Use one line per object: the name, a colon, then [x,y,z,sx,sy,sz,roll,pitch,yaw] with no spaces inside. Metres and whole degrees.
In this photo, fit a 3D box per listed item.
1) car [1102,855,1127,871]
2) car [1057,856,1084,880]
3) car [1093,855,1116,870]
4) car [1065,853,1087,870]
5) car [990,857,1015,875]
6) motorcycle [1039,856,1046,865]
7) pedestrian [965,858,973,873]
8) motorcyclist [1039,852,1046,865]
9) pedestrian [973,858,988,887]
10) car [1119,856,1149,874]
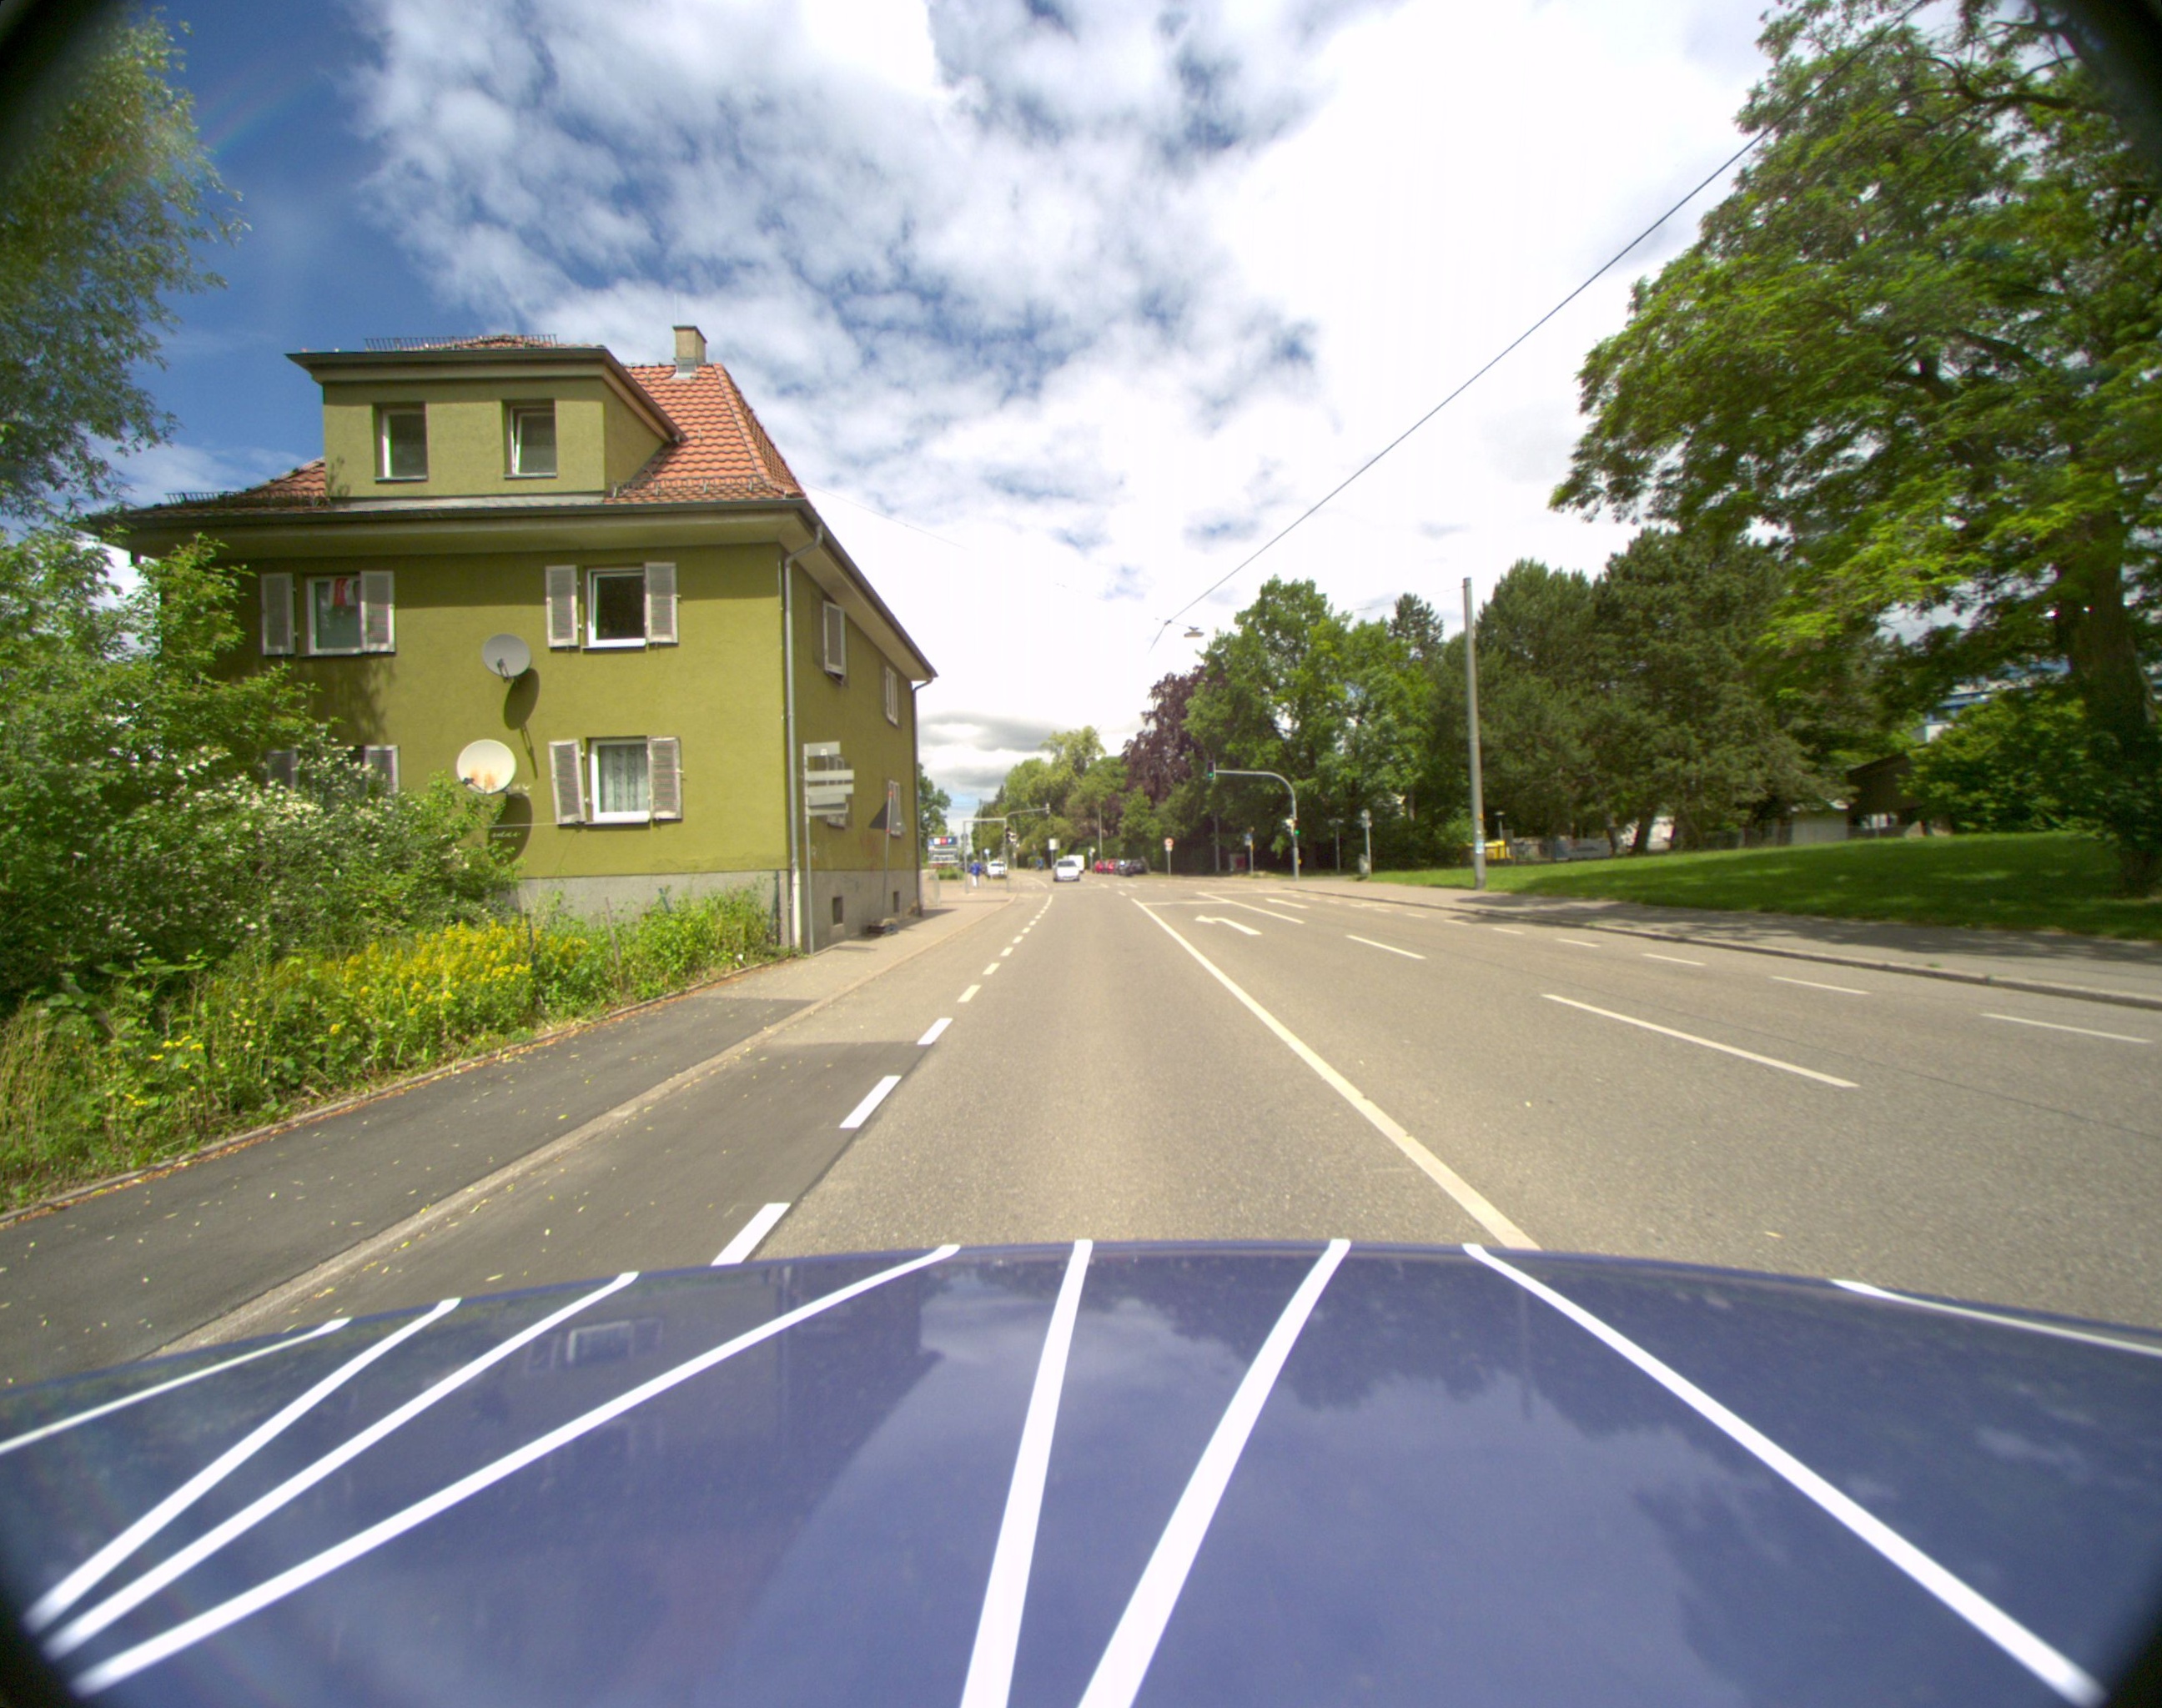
car: [3.352,0.925,77.206,1.900,1.501,3.997,0,1,-7]
car: [-0.740,0.991,54.123,1.781,1.519,3.999,-3,0,0]
car: [2.475,0.902,82.190,1.900,1.501,3.997,0,1,-7]
car: [-0.596,0.791,83.354,1.800,1.787,4.499,-1,0,-9]
car: [-7.090,1.106,69.069,1.799,1.501,3.999,-2,0,0]
motorcycle: [-4.758,0.830,94.249,0.837,1.101,1.800,0,0,-1]
pedestrian: [-13.131,1.329,89.252,0.723,1.651,0.777,-4,1,-4]
motorcyclist: [-4.760,0.577,94.185,0.837,1.547,0.650,0,1,-1]
pedestrian: [-5.499,0.986,41.500,0.729,1.543,1.056,-2,0,-10]
car: [4.689,0.983,67.524,1.900,1.501,3.997,0,1,-7]
